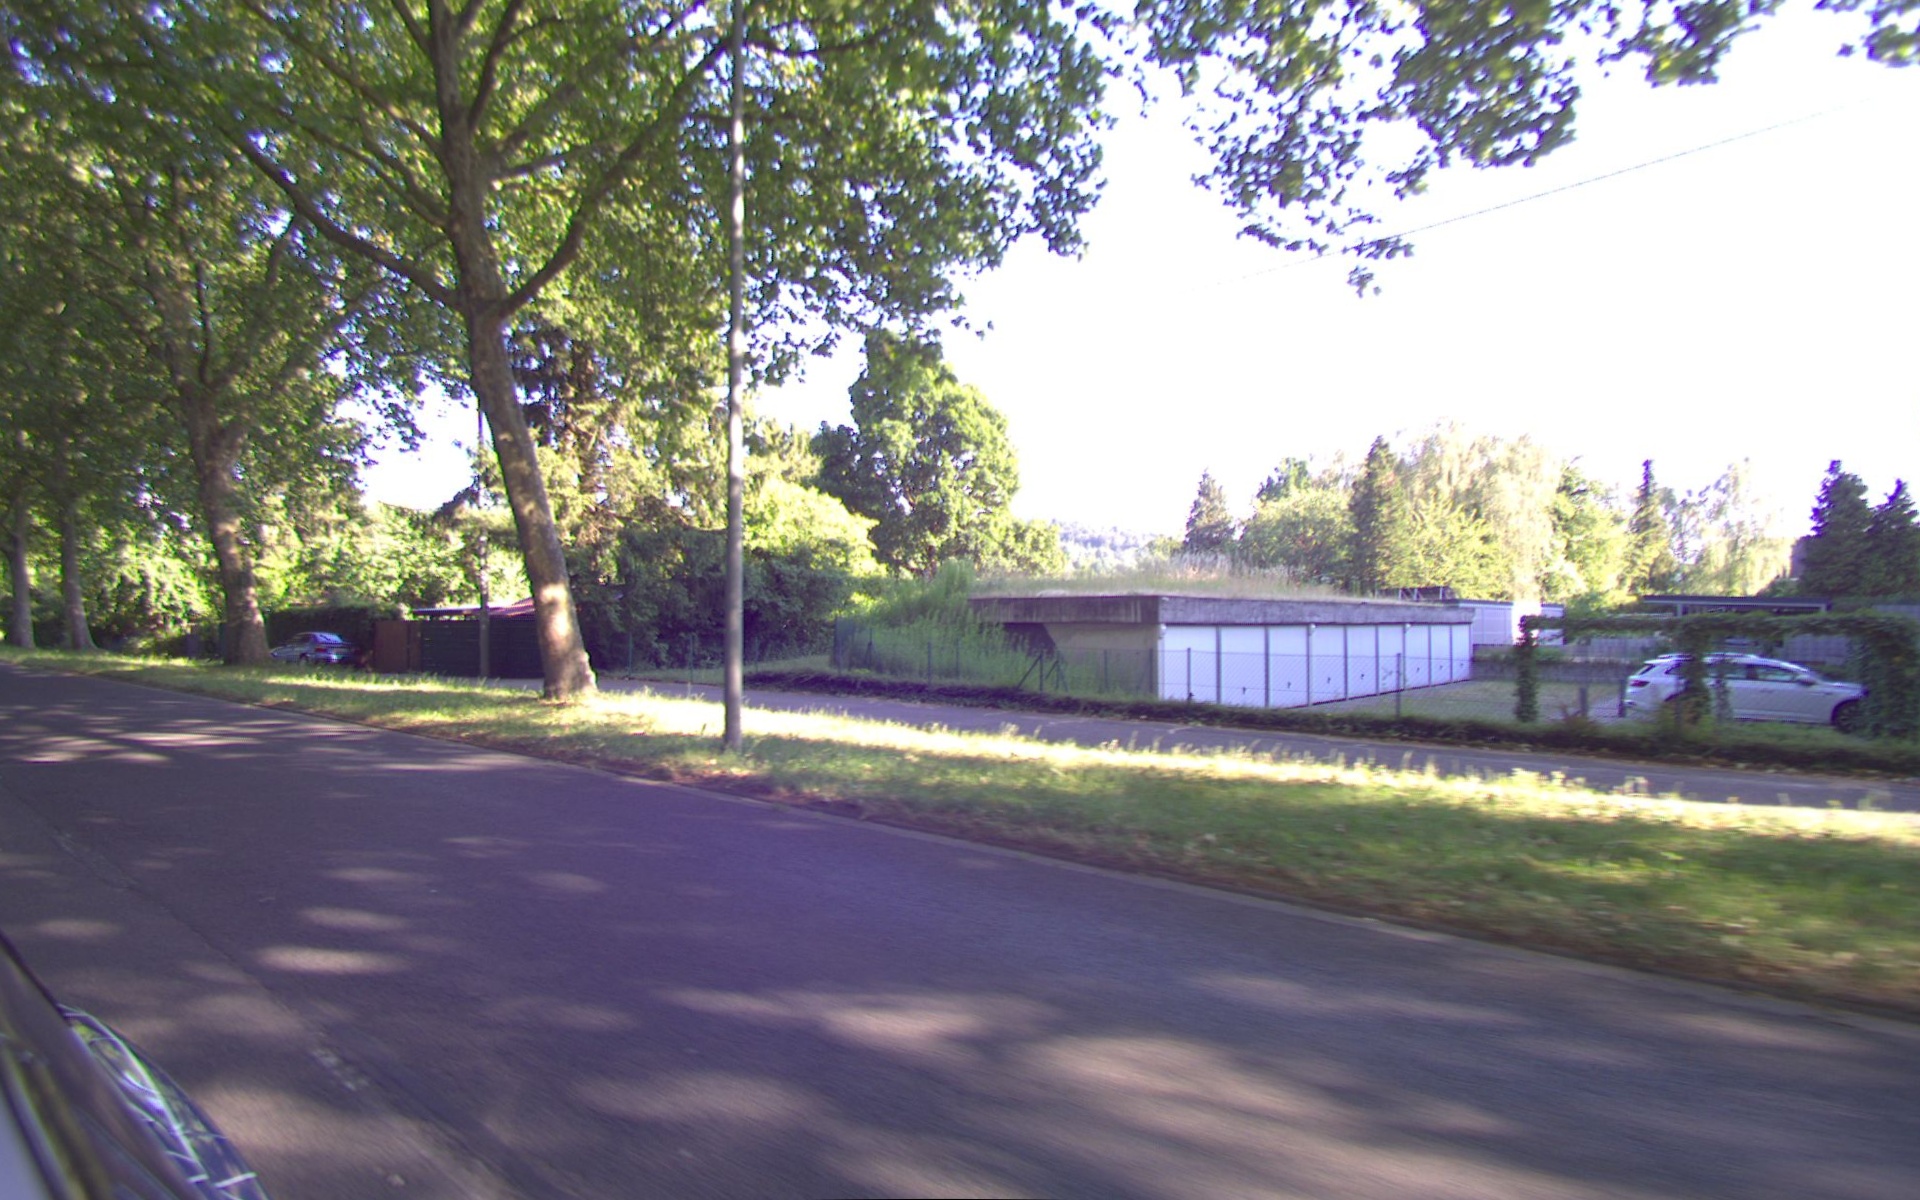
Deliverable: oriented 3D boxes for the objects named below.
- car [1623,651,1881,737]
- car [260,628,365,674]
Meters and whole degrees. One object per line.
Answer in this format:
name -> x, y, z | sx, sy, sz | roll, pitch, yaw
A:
car -> 16.569, 1.896, 21.392 | 4.113, 1.558, 1.865 | -1, -2, 39
car -> -22.889, 1.750, 35.726 | 3.992, 1.542, 1.792 | -1, -2, 36
